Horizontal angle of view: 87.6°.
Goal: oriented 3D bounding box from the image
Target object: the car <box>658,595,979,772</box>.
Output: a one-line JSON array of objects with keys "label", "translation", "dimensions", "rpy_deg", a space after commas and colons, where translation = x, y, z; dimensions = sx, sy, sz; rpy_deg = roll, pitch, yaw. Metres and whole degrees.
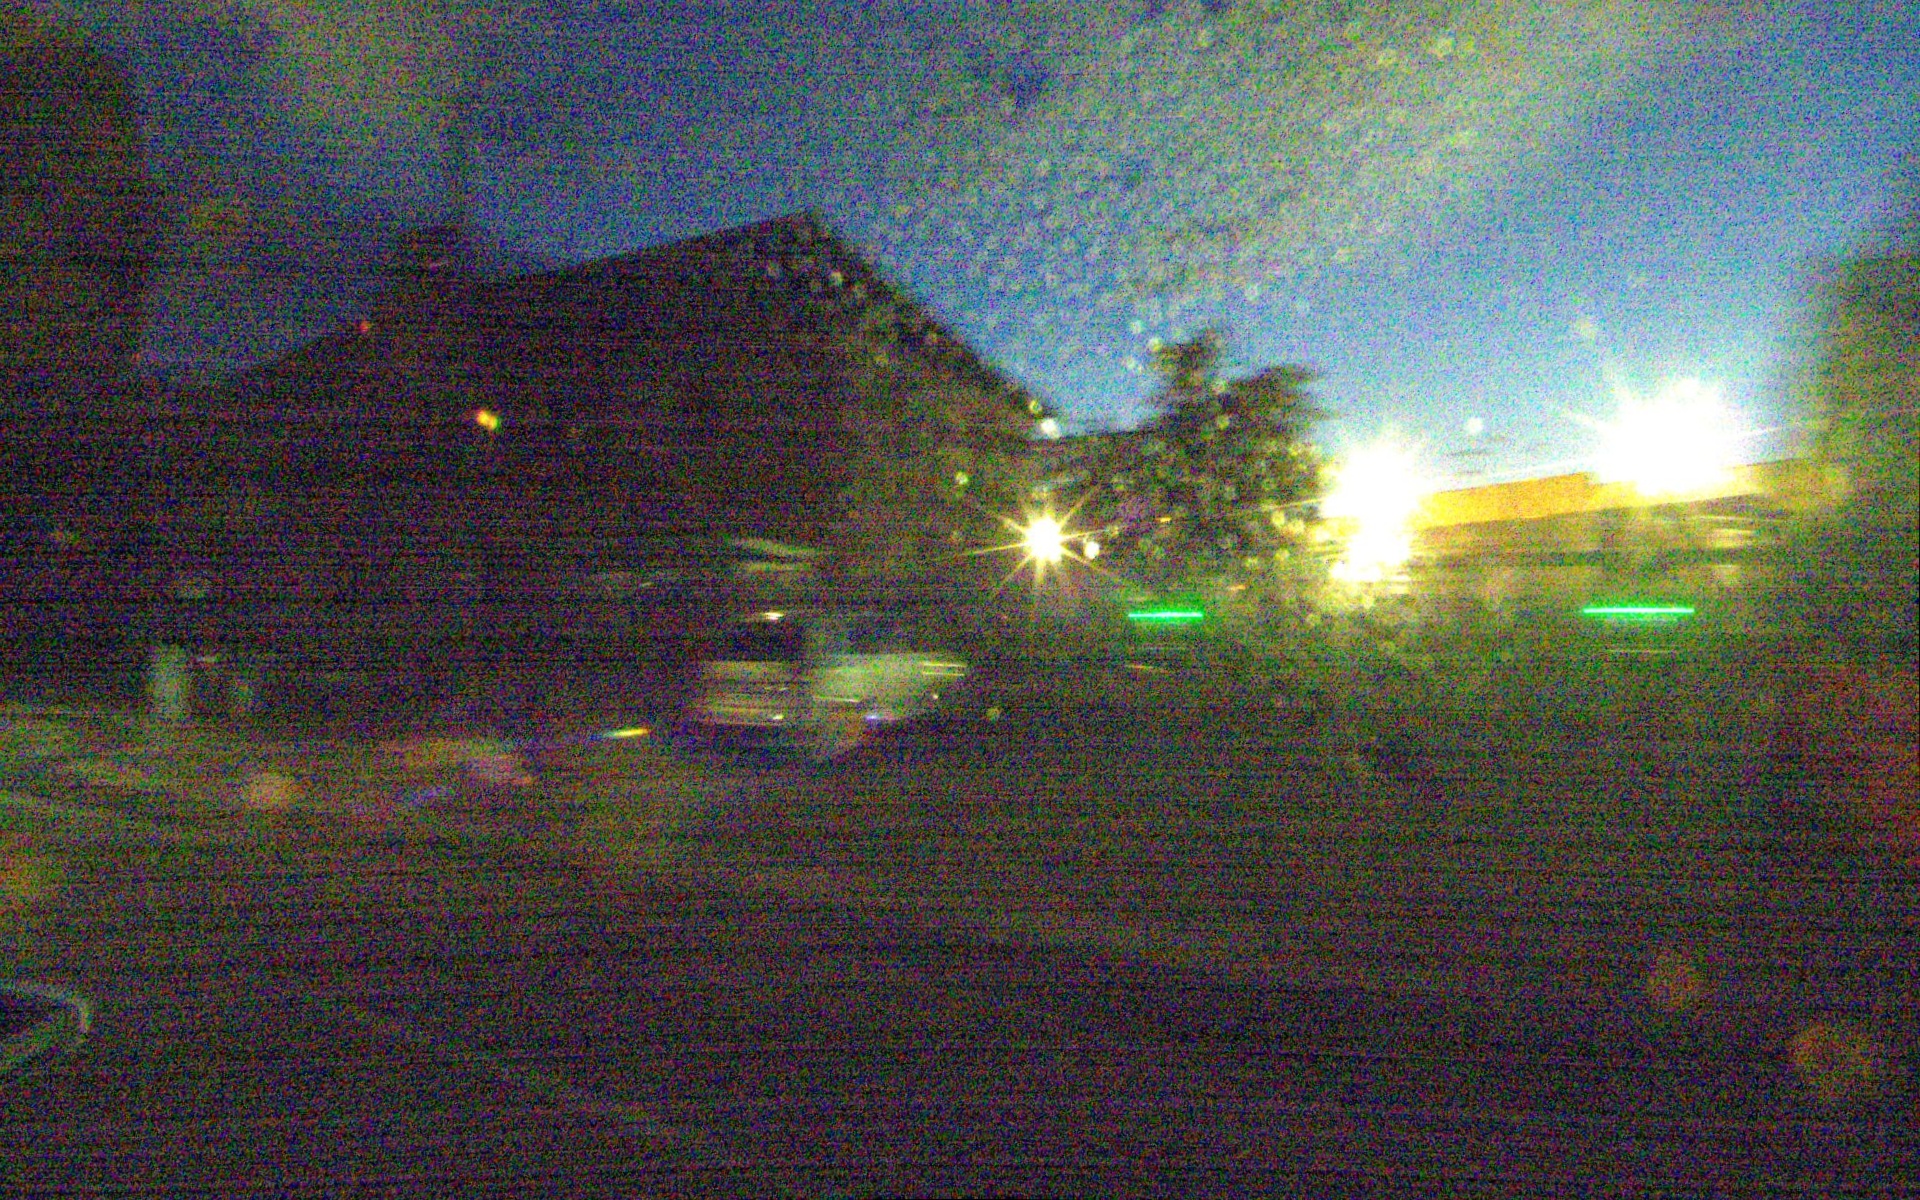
[{"label": "car", "translation": [-1.470, 0.820, 12.227], "dimensions": [1.861, 1.669, 4.325], "rpy_deg": [0, 1, 24]}]
